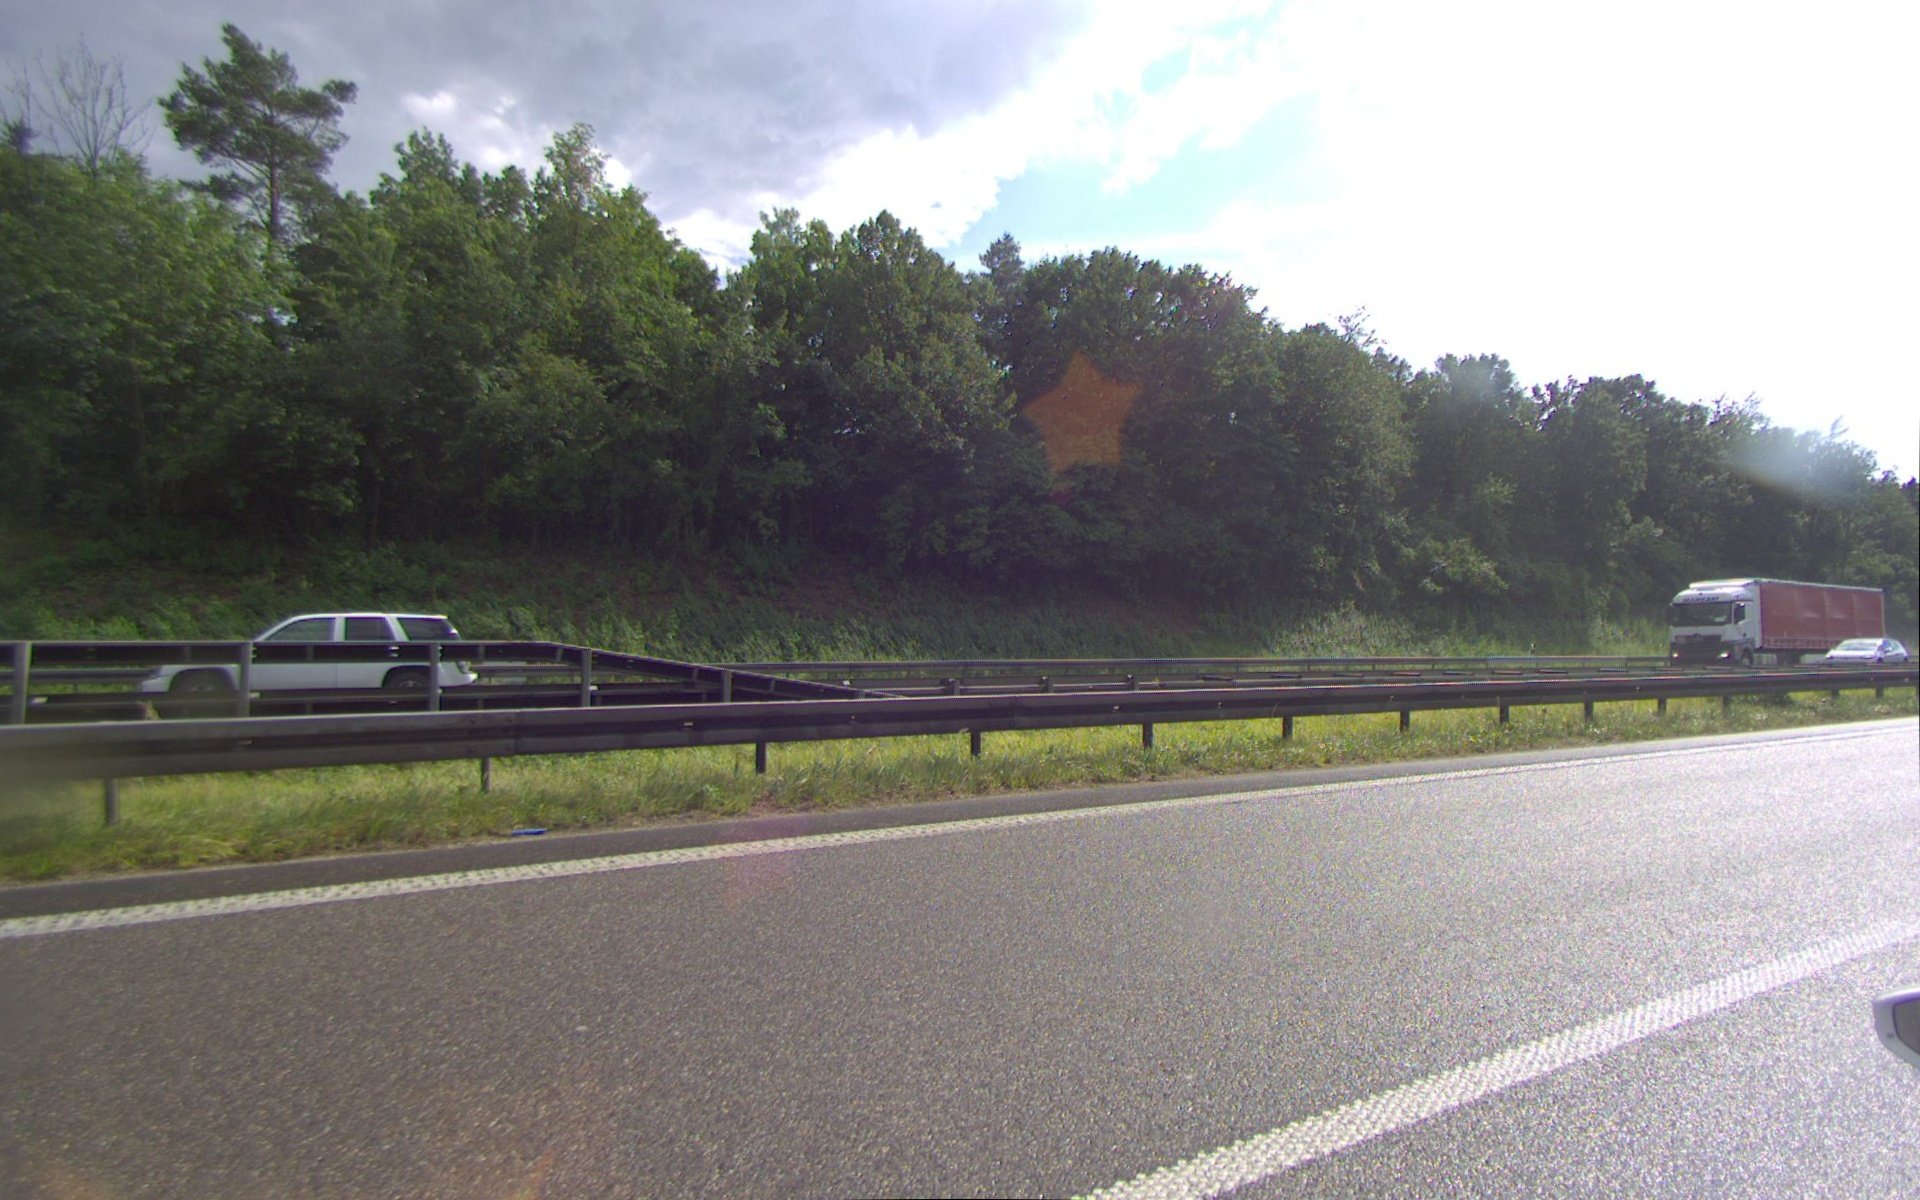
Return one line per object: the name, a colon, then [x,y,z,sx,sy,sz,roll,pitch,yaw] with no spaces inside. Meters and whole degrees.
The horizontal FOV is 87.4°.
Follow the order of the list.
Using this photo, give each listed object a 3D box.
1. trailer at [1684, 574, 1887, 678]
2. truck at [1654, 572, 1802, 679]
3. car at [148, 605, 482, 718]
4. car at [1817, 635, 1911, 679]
trailer: [39.518,1.302,47.807,13.929,4.431,2.849,2,0,-31]
truck: [34.130,1.127,44.592,6.789,4.431,2.849,2,0,-31]
car: [-10.822,1.007,17.244,4.577,1.685,1.820,2,0,-31]
car: [37.437,2.333,41.586,4.187,1.685,1.691,2,0,-31]
